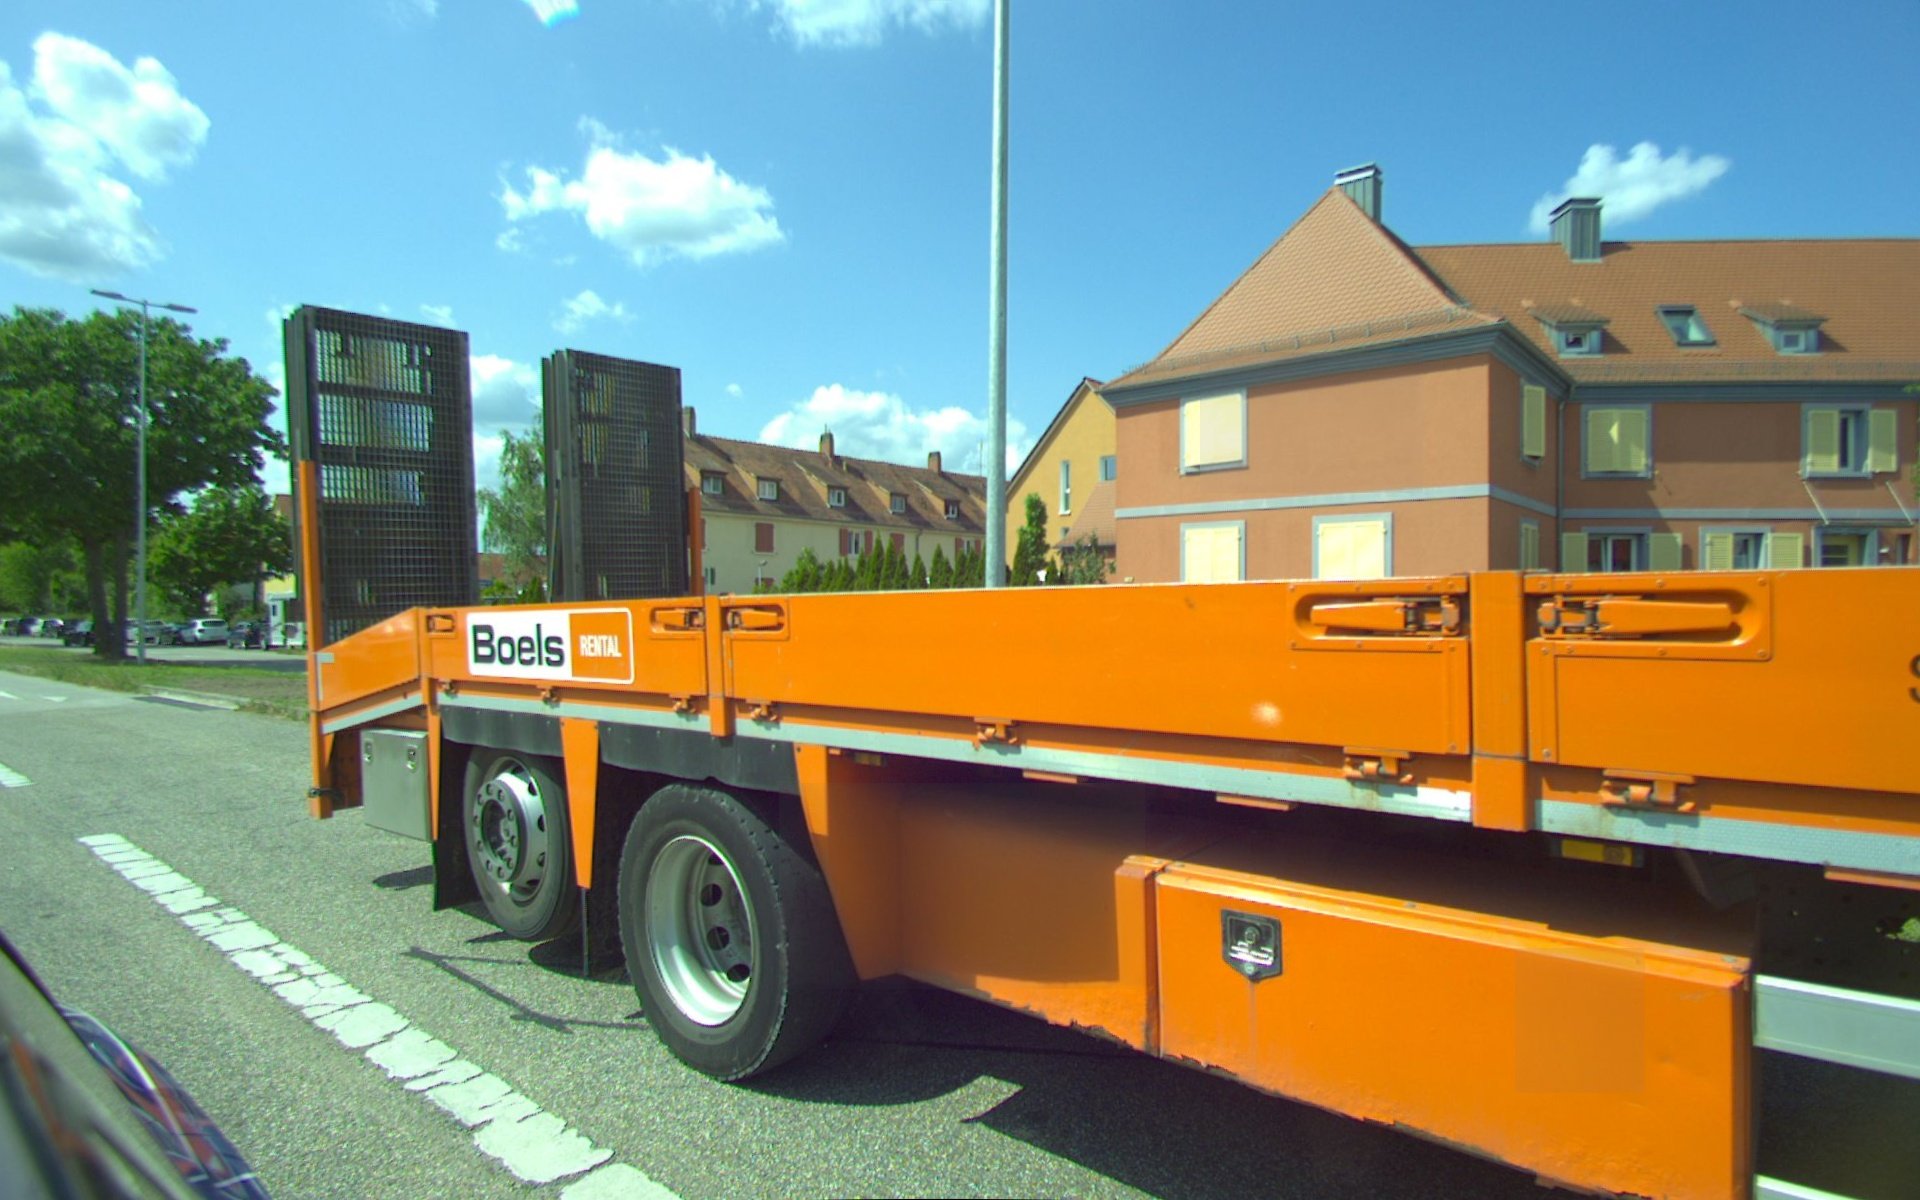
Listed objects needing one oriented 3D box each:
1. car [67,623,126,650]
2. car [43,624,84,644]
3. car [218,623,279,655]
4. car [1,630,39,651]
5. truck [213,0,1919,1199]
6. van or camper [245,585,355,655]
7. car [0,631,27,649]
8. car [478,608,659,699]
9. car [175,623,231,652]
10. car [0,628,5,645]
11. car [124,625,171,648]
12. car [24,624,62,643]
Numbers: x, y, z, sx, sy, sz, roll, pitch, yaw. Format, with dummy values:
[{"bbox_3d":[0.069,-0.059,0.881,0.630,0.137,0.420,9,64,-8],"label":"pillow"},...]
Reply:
[{"bbox_3d":[-48.305,2.007,56.589,4.572,1.449,1.754,0,-1,40],"label":"car"},{"bbox_3d":[-71.582,2.714,80.800,4.096,1.492,1.645,-1,1,37],"label":"car"},{"bbox_3d":[-37.748,2.060,53.659,3.989,1.496,1.620,0,2,40],"label":"car"},{"bbox_3d":[-83.457,3.583,89.838,4.307,1.624,1.645,0,2,37],"label":"car"},{"bbox_3d":[1.179,-0.390,3.175,11.058,3.439,3.040,0,2,40],"label":"truck"},{"bbox_3d":[-32.336,0.977,49.439,7.311,3.135,2.237,-2,1,39],"label":"van or camper"},{"bbox_3d":[-88.194,3.725,93.986,3.529,1.472,1.579,0,2,37],"label":"car"},{"bbox_3d":[-8.147,1.045,20.923,3.997,1.702,1.776,-1,-1,40],"label":"car"},{"bbox_3d":[-44.272,2.158,59.167,4.120,1.496,1.672,0,2,40],"label":"car"},{"bbox_3d":[-96.695,3.634,100.679,3.993,1.563,1.751,0,2,37],"label":"car"},{"bbox_3d":[-53.310,2.373,66.363,4.527,1.380,1.496,-1,1,40],"label":"car"},{"bbox_3d":[-77.275,2.832,85.270,3.840,1.462,1.645,0,2,37],"label":"car"}]
